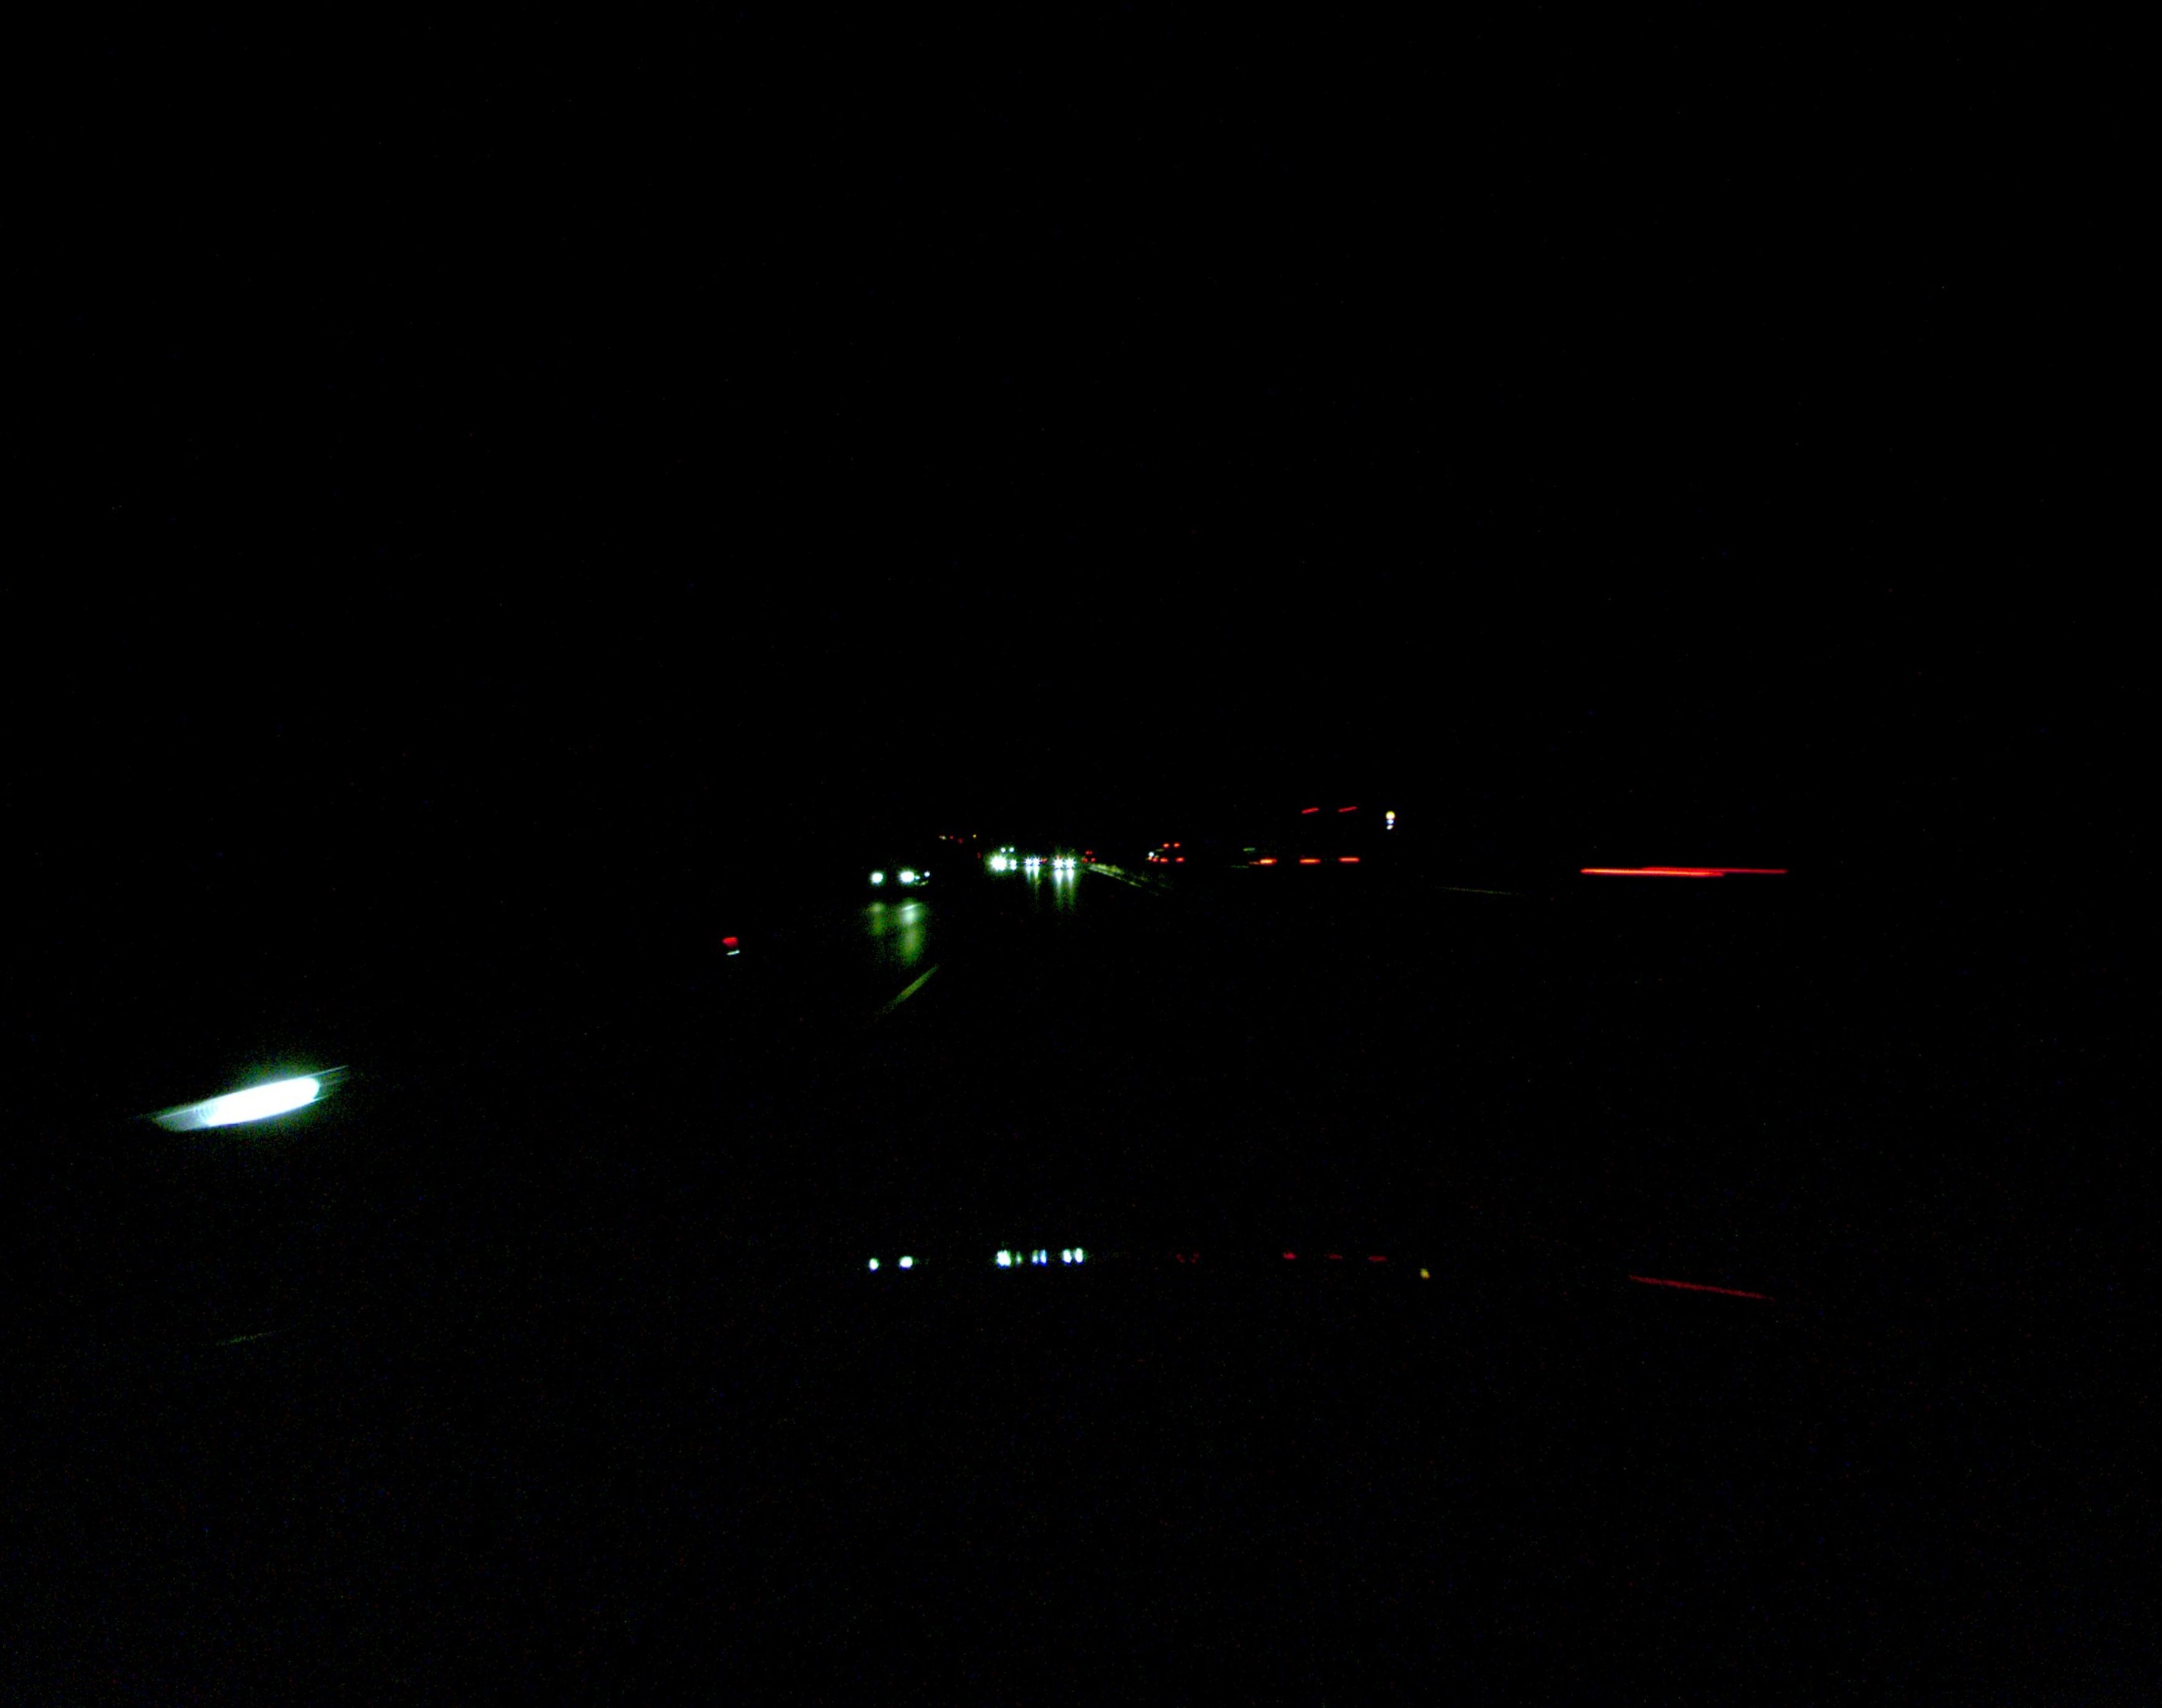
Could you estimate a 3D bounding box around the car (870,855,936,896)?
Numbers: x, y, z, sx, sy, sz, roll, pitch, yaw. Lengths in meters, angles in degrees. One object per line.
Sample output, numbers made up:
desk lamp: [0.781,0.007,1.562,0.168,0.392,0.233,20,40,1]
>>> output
car: [-8.274,0.952,35.785,1.999,1.707,5.166,-2,0,-2]

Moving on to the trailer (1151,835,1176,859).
trailer: [13.014,-1.098,120.381,3.065,3.668,7.228,-2,1,-1]

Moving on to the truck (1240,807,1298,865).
truck: [15.193,-1.406,61.792,2.860,4.408,6.395,-2,1,-1]

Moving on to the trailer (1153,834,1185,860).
trailer: [13.080,-1.052,114.082,3.065,3.667,11.684,-2,0,-1]

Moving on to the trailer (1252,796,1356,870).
trailer: [15.343,-1.344,53.786,2.860,4.407,13.977,-2,0,-1]

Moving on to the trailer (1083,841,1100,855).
trailer: [3.180,-1.901,234.400,3.447,3.983,14.752,-2,0,-5]

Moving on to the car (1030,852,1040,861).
car: [-9.174,0.524,150.958,1.940,1.608,3.998,-2,0,-5]

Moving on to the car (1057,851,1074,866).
car: [-1.850,0.527,91.553,2.012,1.652,3.999,-2,0,0]

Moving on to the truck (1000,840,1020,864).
truck: [-13.943,-0.387,148.577,3.348,4.408,6.988,-3,1,-7]

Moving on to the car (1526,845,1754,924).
car: [11.706,0.561,16.329,1.817,1.444,4.133,-2,0,-1]

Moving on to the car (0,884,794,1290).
car: [-4.050,1.054,5.595,1.839,1.393,5.069,-2,0,1]

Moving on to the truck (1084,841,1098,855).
truck: [3.076,-1.904,236.327,3.447,3.983,6.771,-2,1,-5]
